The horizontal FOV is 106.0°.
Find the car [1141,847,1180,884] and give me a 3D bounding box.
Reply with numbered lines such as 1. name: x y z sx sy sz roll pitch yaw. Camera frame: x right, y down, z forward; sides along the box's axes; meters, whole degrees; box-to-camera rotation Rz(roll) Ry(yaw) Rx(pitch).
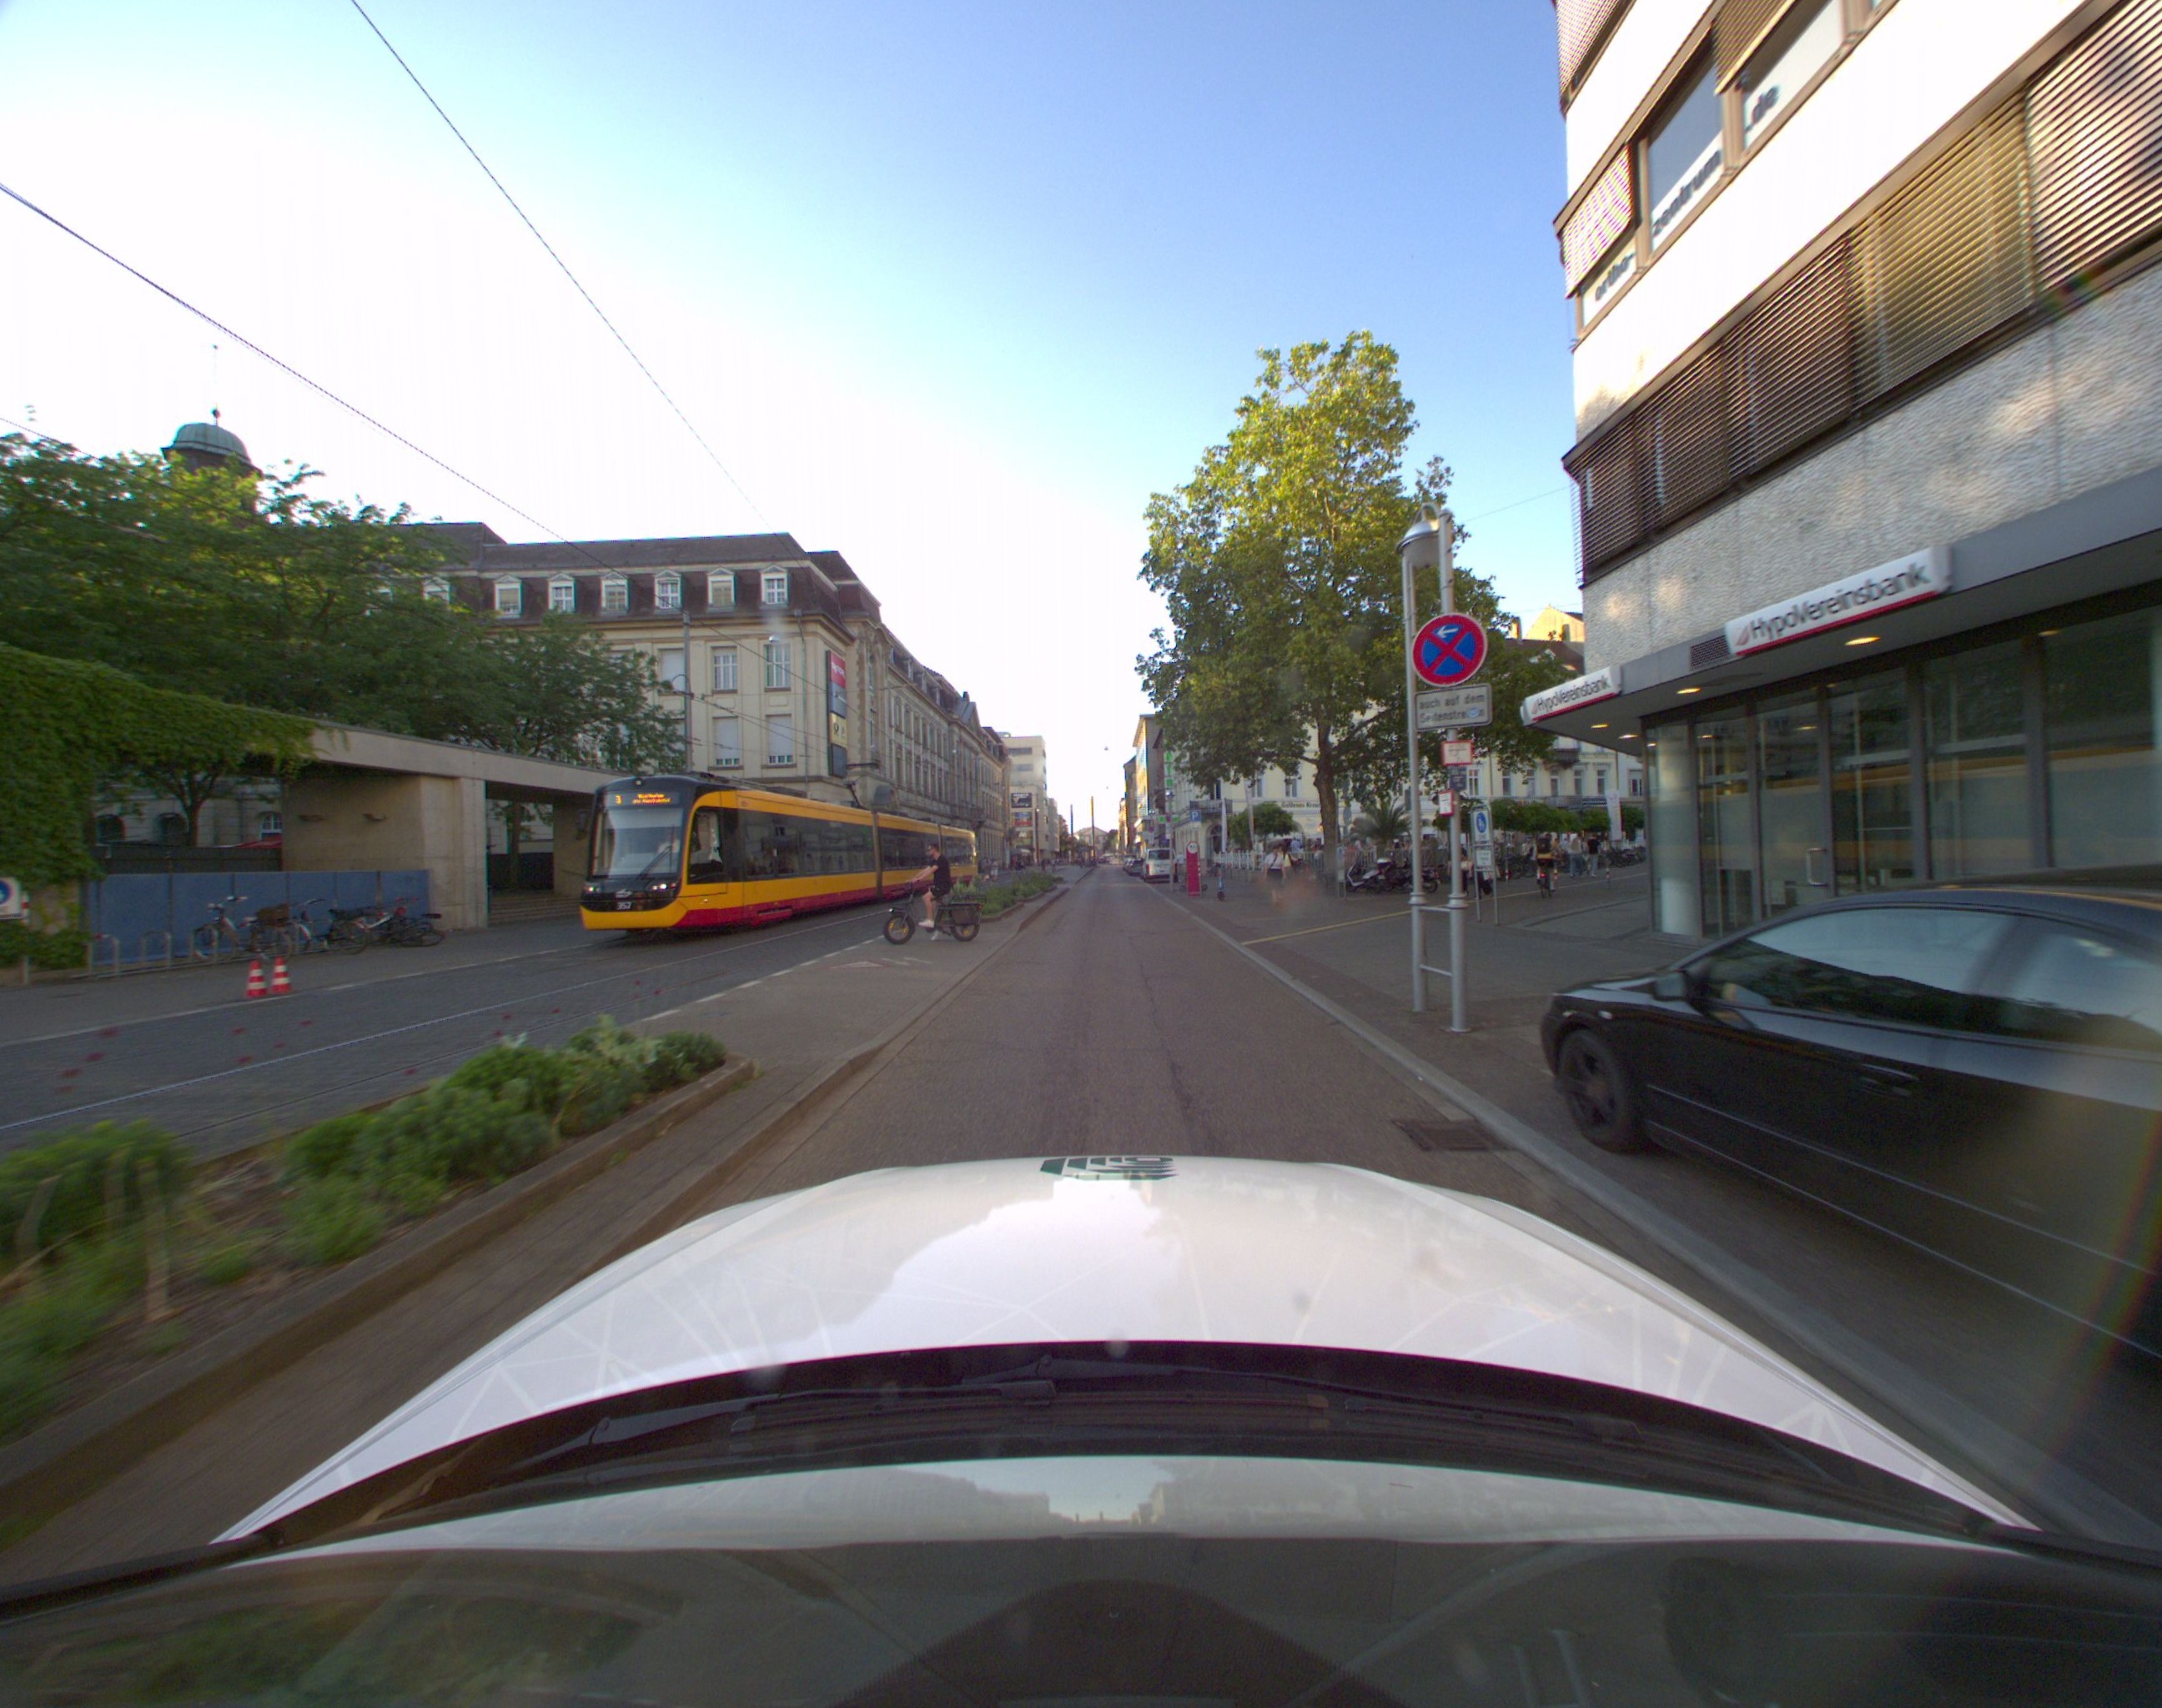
1. car: 4.607 0.680 47.701 1.908 1.981 4.422 -2 -1 1

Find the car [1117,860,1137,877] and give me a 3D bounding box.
1. car: 4.809 1.536 85.432 1.986 1.667 4.422 -2 -2 1

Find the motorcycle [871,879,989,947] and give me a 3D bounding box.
1. motorcycle: -2.773 1.066 15.018 2.054 1.123 0.563 -1 -3 -25

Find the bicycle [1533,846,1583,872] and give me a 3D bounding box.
1. bicycle: 24.017 0.258 41.020 2.089 1.291 0.445 -1 0 36

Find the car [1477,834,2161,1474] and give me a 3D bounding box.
1. car: 3.314 0.688 2.952 1.649 1.380 4.342 -5 -1 2

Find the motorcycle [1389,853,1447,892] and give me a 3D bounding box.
1. motorcycle: 11.413 0.625 27.623 0.563 1.282 1.942 -1 -1 -24

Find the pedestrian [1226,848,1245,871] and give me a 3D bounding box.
1. pedestrian: 9.166 0.323 48.346 0.899 1.314 0.967 -2 -2 1

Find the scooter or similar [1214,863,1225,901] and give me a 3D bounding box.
1. scooter or similar: 4.562 0.909 26.921 0.313 1.221 1.275 -2 -1 9

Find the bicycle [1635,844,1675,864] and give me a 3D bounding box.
1. bicycle: 38.009 0.008 53.931 2.089 1.291 0.445 -2 -1 36

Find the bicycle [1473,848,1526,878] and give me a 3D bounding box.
1. bicycle: 18.541 0.395 36.133 0.444 1.291 2.095 -3 2 -34

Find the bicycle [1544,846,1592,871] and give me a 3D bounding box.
1. bicycle: 25.452 0.230 42.555 2.089 1.291 0.445 -1 0 36

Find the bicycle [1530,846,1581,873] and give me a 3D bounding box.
1. bicycle: 23.330 0.288 40.064 2.089 1.291 0.445 -1 -1 36

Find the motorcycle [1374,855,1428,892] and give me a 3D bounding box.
1. motorcycle: 10.702 0.639 27.281 0.553 1.151 1.783 -1 1 -24

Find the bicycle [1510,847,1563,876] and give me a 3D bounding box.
1. bicycle: 20.804 0.324 37.229 0.444 1.291 2.095 -2 1 -34

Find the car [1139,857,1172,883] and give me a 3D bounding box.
1. car: 5.159 1.134 57.200 1.986 1.667 4.422 -2 -1 1

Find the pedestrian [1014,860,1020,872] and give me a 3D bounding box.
1. pedestrian: -8.854 1.673 112.635 0.777 1.580 0.676 -2 -1 -10

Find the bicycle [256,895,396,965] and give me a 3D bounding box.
1. bicycle: -14.816 1.484 16.013 2.233 1.255 0.580 -2 -2 1

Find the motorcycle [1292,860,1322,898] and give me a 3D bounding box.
1. motorcycle: 7.273 0.780 26.293 0.453 1.158 2.032 -1 0 2

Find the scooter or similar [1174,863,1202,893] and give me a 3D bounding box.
1. scooter or similar: 4.521 1.015 34.388 1.120 1.216 0.301 -3 1 2

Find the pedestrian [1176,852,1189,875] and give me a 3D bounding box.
1. pedestrian: 7.860 0.755 63.242 0.785 1.751 0.893 -2 -2 -5

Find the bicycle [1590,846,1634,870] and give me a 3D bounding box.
1. bicycle: 30.598 0.233 46.933 2.089 1.291 0.445 -2 -1 36

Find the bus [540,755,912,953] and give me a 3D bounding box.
1. bus: -8.515 0.054 23.977 2.811 3.651 17.080 -2 0 2

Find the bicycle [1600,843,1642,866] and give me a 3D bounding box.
1. bicycle: 32.657 0.033 49.288 2.089 1.291 0.445 -2 -1 36

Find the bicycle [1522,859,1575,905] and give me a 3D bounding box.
1. bicycle: 12.764 0.736 22.186 2.209 1.212 0.643 0 -2 -44

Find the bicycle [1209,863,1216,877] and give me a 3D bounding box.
1. bicycle: 8.616 1.055 53.433 0.249 0.902 1.374 -2 -2 2

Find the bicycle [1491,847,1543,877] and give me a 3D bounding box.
1. bicycle: 19.555 0.350 36.584 0.444 1.291 2.095 -3 2 -34

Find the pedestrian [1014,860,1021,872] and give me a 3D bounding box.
1. pedestrian: -8.725 1.670 111.832 0.773 1.580 0.676 -2 -1 -10

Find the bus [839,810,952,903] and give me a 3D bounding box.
1. bus: -8.056 0.197 36.672 2.811 3.625 8.292 -2 -1 2

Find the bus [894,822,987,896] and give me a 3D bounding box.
1. bus: -7.720 0.386 46.712 2.811 3.613 11.827 -2 -1 2

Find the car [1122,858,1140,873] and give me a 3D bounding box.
1. car: 5.982 1.433 98.583 1.986 1.667 4.422 -2 -2 1

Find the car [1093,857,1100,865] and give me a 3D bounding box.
1. car: 4.326 1.885 221.819 1.754 1.827 3.571 -2 -2 1

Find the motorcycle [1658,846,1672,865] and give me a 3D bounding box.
1. motorcycle: 33.528 0.107 46.759 0.345 1.033 1.592 -3 -2 26

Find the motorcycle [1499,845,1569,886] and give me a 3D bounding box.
1. motorcycle: 14.884 0.381 26.790 0.565 1.282 1.936 -1 -1 -35

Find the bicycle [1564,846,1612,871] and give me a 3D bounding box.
1. bicycle: 27.131 0.225 43.593 2.089 1.291 0.445 -2 -1 36

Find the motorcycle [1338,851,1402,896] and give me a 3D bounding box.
1. motorcycle: 9.597 0.611 27.160 0.567 1.423 2.278 -1 1 -24

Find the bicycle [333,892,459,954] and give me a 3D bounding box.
1. bicycle: -14.862 1.491 17.685 2.233 1.232 0.585 -2 -1 1

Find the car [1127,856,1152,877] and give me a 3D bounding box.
1. car: 5.162 1.124 72.472 1.986 1.761 4.422 -2 -1 1

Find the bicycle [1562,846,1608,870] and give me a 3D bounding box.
1. bicycle: 27.685 0.220 44.776 2.089 1.291 0.445 -1 2 36

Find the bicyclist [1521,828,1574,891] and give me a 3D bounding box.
1. bicyclist: 12.657 0.168 22.111 1.005 1.653 0.980 2 -3 -44

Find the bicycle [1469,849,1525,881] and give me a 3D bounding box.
1. bicycle: 17.178 0.436 33.653 0.444 1.291 2.095 -2 1 -34

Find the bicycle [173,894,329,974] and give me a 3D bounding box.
1. bicycle: -14.740 1.413 14.485 2.189 1.300 0.580 -2 -2 1
